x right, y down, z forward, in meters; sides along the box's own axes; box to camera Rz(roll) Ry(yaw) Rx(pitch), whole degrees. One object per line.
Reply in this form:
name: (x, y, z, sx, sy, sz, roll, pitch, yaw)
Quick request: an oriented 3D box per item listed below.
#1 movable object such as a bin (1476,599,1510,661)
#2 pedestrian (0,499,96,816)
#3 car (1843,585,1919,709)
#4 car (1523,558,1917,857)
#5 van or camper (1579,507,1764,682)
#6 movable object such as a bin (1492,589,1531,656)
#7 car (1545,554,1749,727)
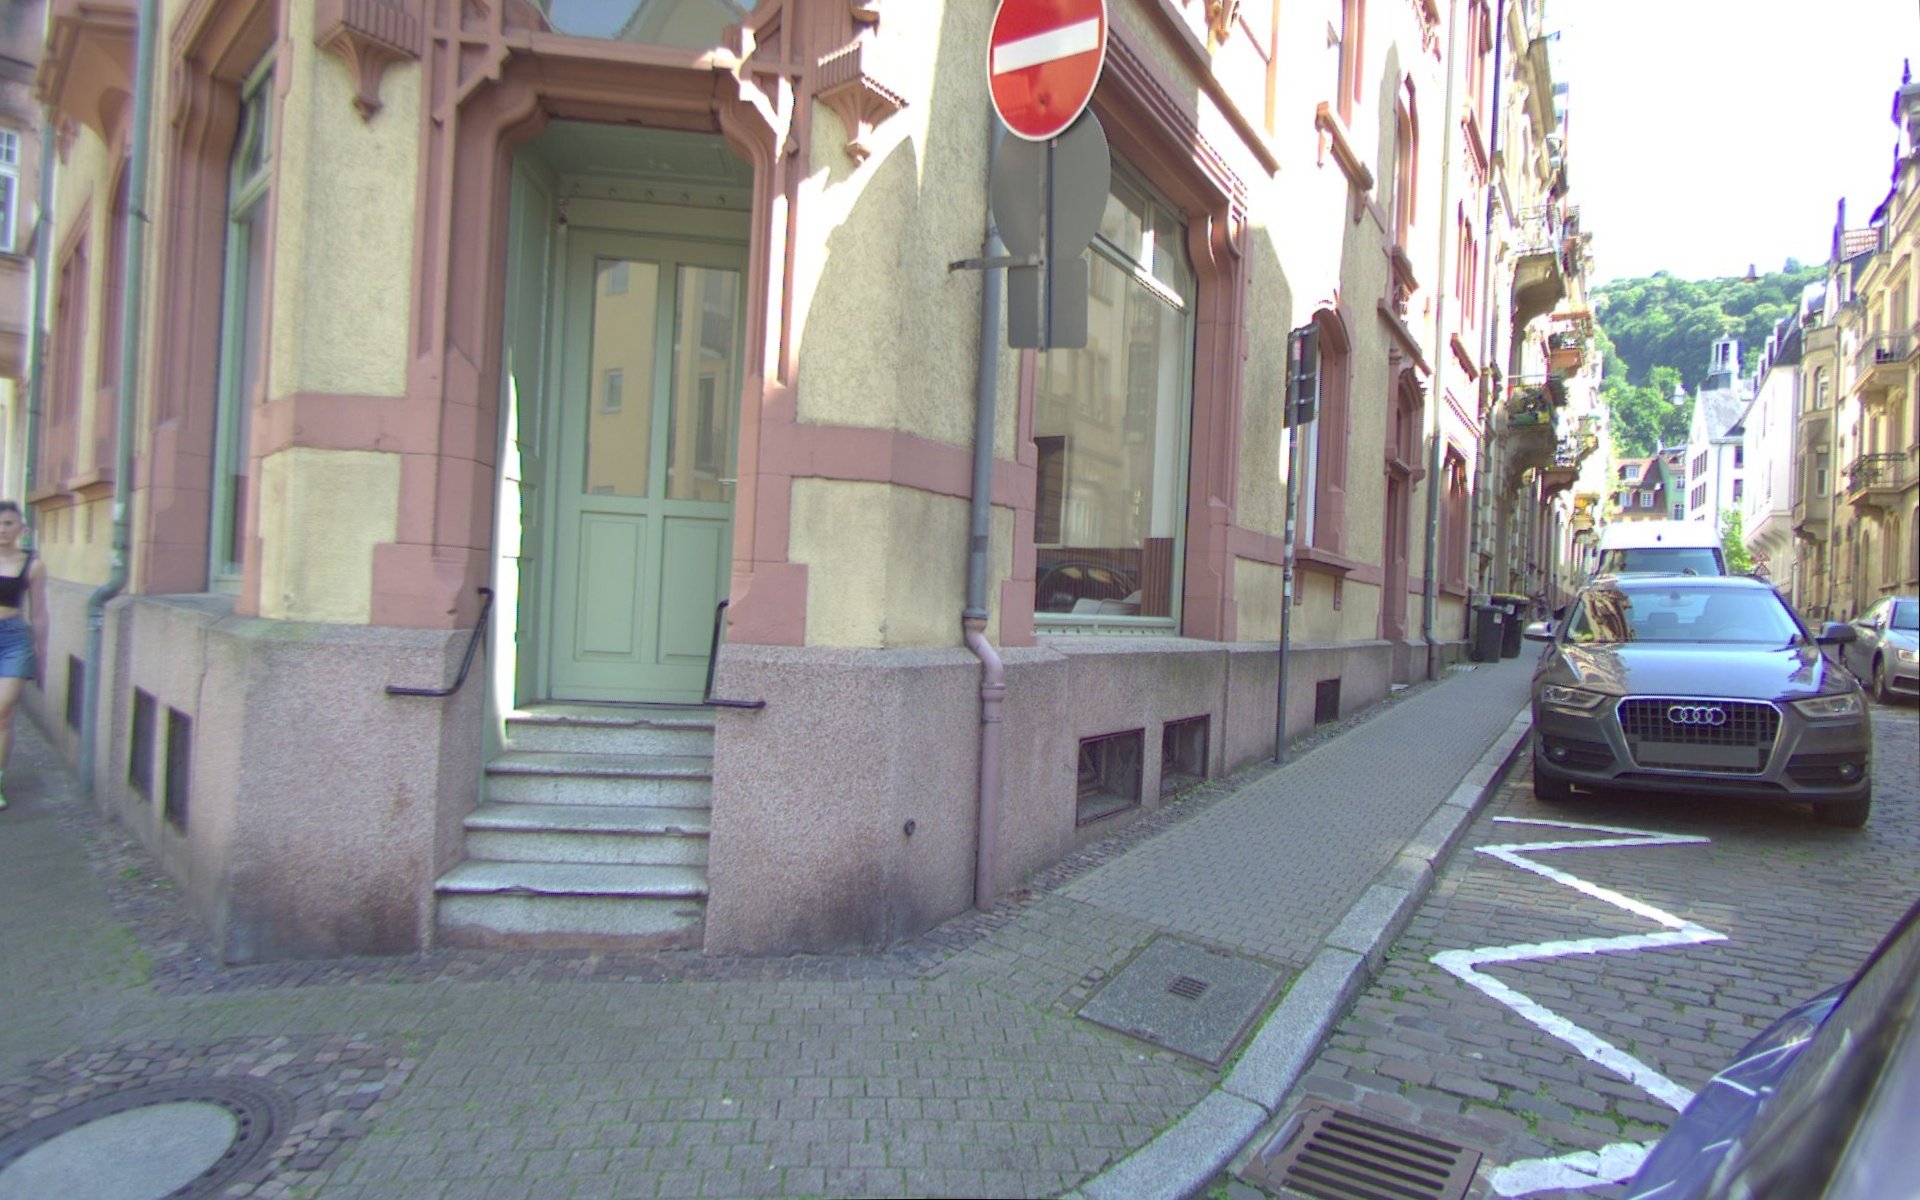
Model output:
movable object such as a bin: (8.673, 0.484, 16.462, 0.437, 0.969, 0.345, 2, -1, 35)
pedestrian: (-5.686, 0.307, 6.083, 0.977, 1.780, 0.614, 1, 3, 43)
car: (13.542, 0.588, 13.704, 1.865, 1.511, 4.328, 2, 1, 35)
car: (5.491, 0.545, 7.708, 1.849, 1.603, 4.210, 0, 1, 33)
van or camper: (12.574, -0.209, 18.170, 2.211, 2.551, 6.688, 3, 3, 33)
movable object such as a bin: (9.485, 0.384, 17.397, 0.514, 1.103, 0.416, 2, -1, 35)
car: (8.251, 0.375, 12.235, 1.750, 1.727, 3.951, -1, 0, 34)
